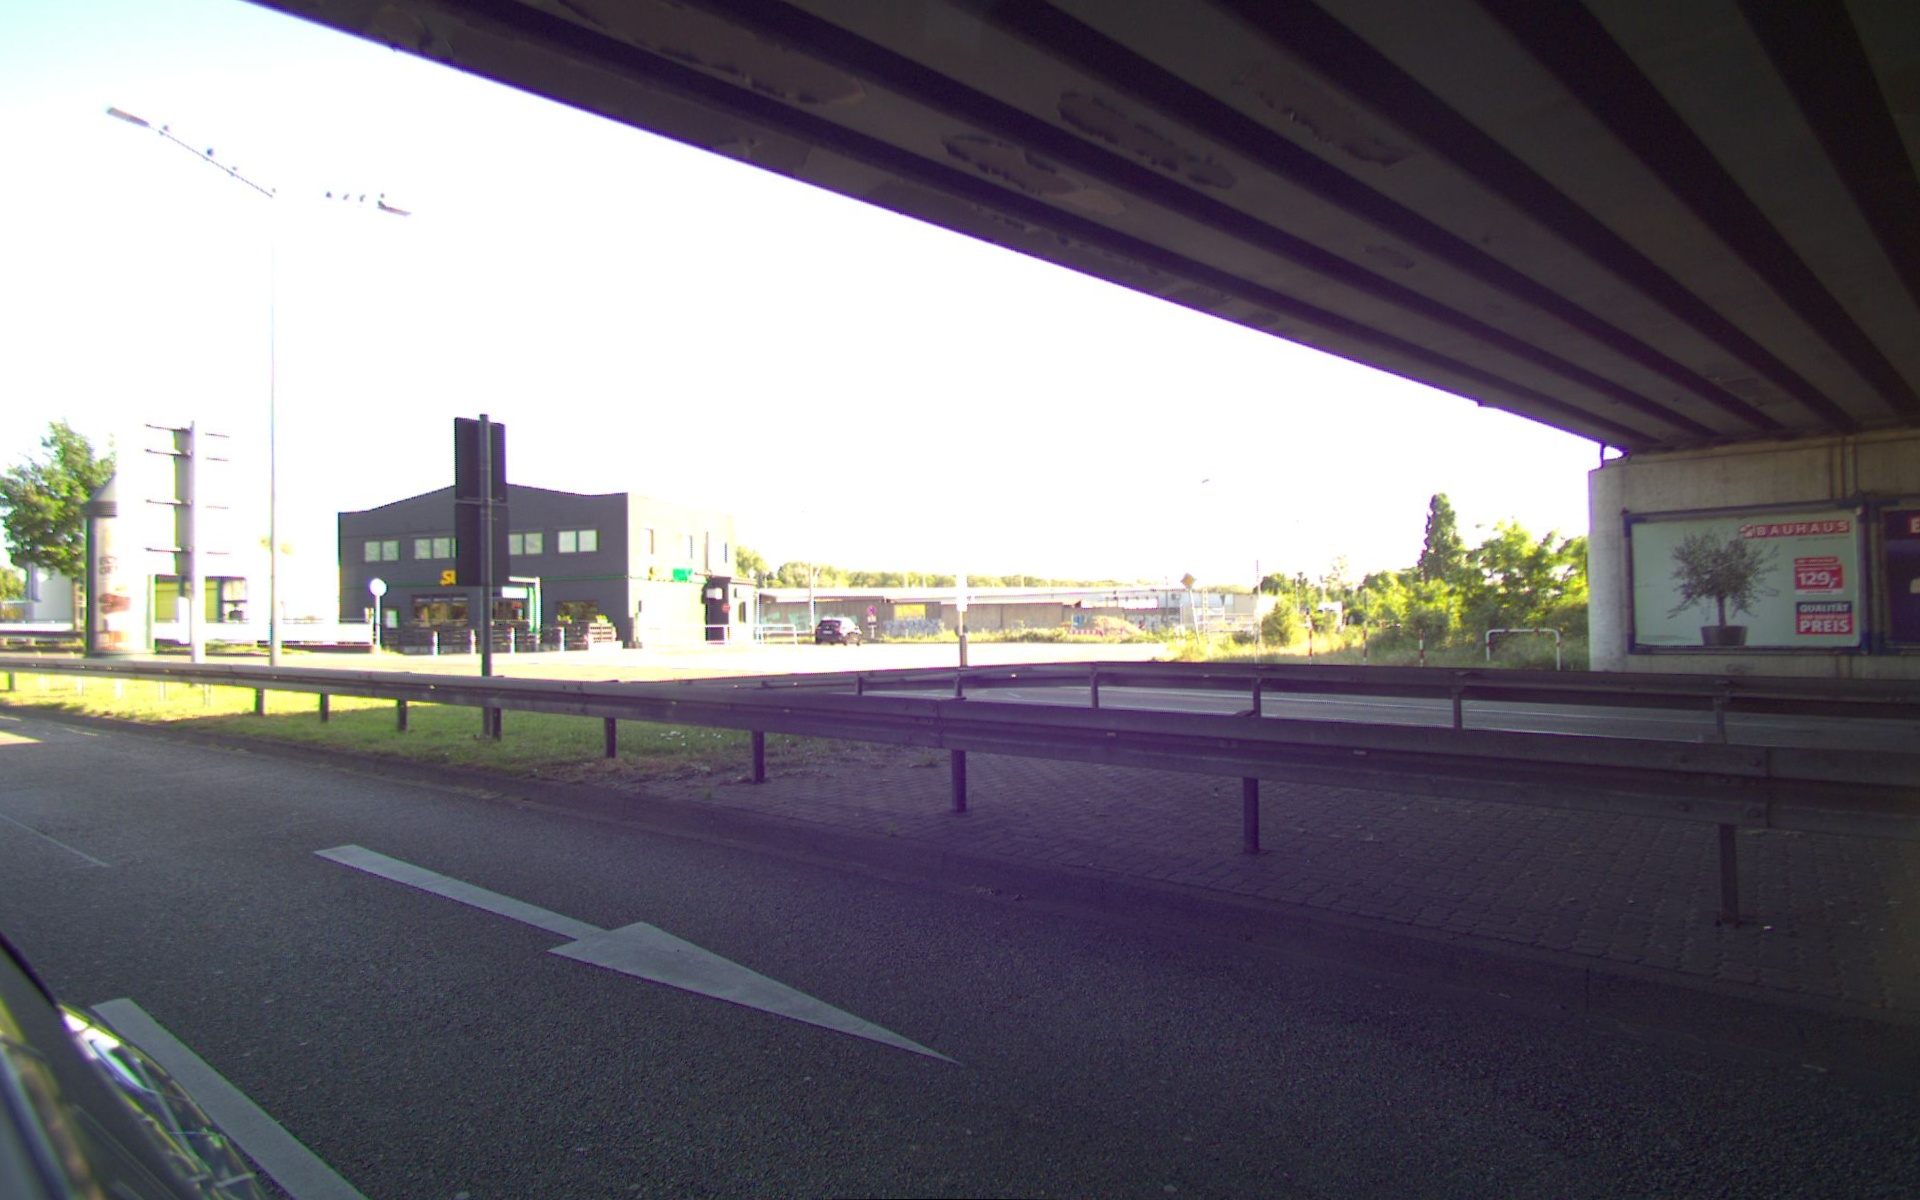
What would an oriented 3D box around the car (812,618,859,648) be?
[{"bbox_3d":[-6.698,1.768,55.019,1.858,1.453,3.996,-1,0,3],"label":"car"}]
